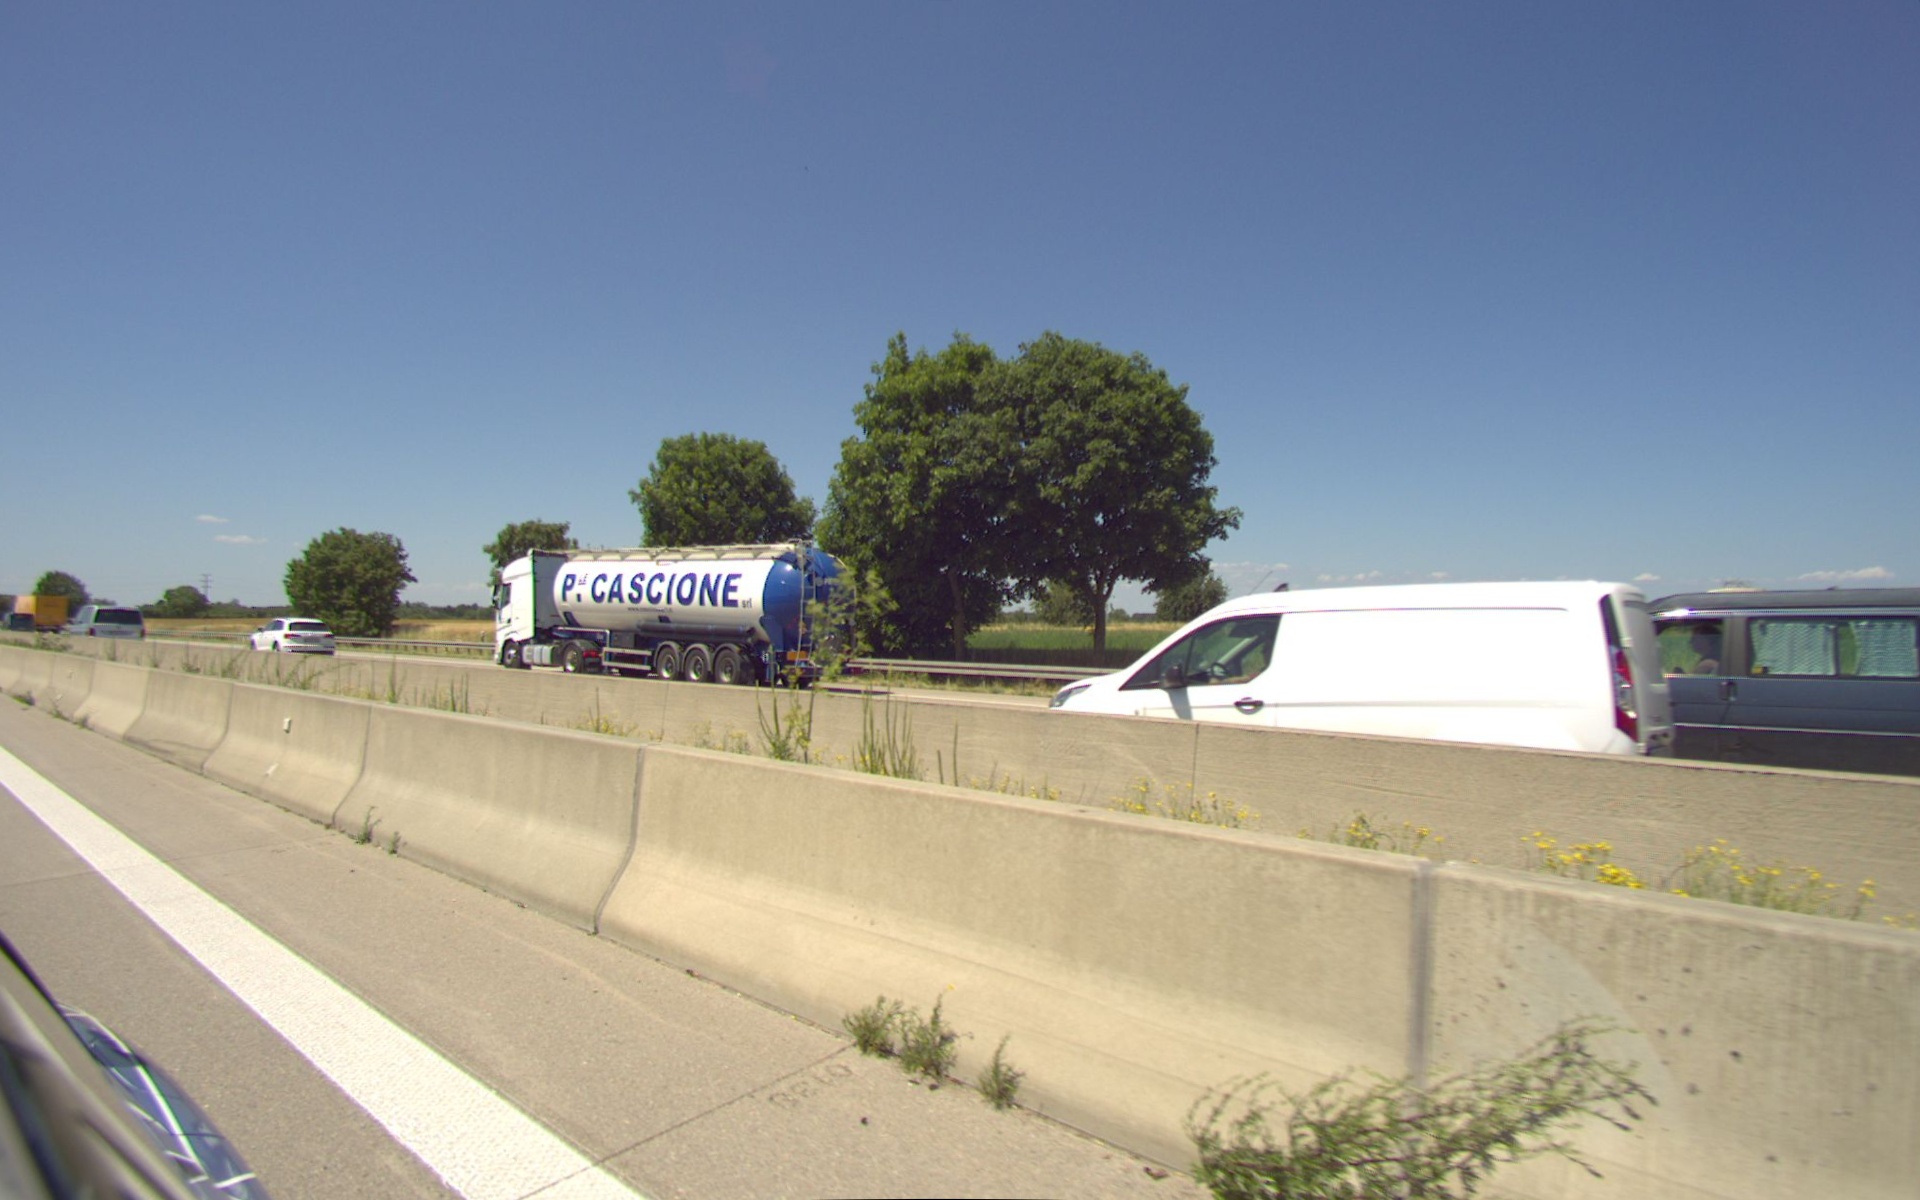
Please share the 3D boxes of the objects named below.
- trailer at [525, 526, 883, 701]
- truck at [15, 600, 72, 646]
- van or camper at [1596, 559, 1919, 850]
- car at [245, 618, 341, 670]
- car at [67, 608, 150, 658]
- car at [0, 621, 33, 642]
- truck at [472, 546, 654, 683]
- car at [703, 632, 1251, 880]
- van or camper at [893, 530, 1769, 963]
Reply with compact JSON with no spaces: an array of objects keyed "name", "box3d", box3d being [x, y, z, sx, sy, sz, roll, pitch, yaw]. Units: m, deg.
[{"name":"trailer","box3d":[-7.720,0.412,28.309,12.998,3.999,2.649,-1,-2,41]},{"name":"truck","box3d":[-96.548,2.374,106.531,9.996,4.529,3.377,-1,0,41]},{"name":"van or camper","box3d":[8.193,0.789,8.305,4.794,2.236,1.917,-1,0,41]},{"name":"car","box3d":[-25.384,1.628,38.462,4.299,1.804,1.973,-1,0,41]},{"name":"car","box3d":[-34.370,1.287,40.802,3.998,1.918,1.973,-1,0,41]},{"name":"car","box3d":[-83.121,2.740,88.975,4.299,1.804,1.973,-1,0,41]},{"name":"truck","box3d":[-12.961,0.485,32.806,6.616,3.999,2.629,-1,-2,40]},{"name":"car","box3d":[-0.144,1.302,10.566,5.842,1.804,1.973,-1,0,41]},{"name":"van or camper","box3d":[2.441,0.805,8.297,6.467,2.315,1.973,-1,0,41]}]
